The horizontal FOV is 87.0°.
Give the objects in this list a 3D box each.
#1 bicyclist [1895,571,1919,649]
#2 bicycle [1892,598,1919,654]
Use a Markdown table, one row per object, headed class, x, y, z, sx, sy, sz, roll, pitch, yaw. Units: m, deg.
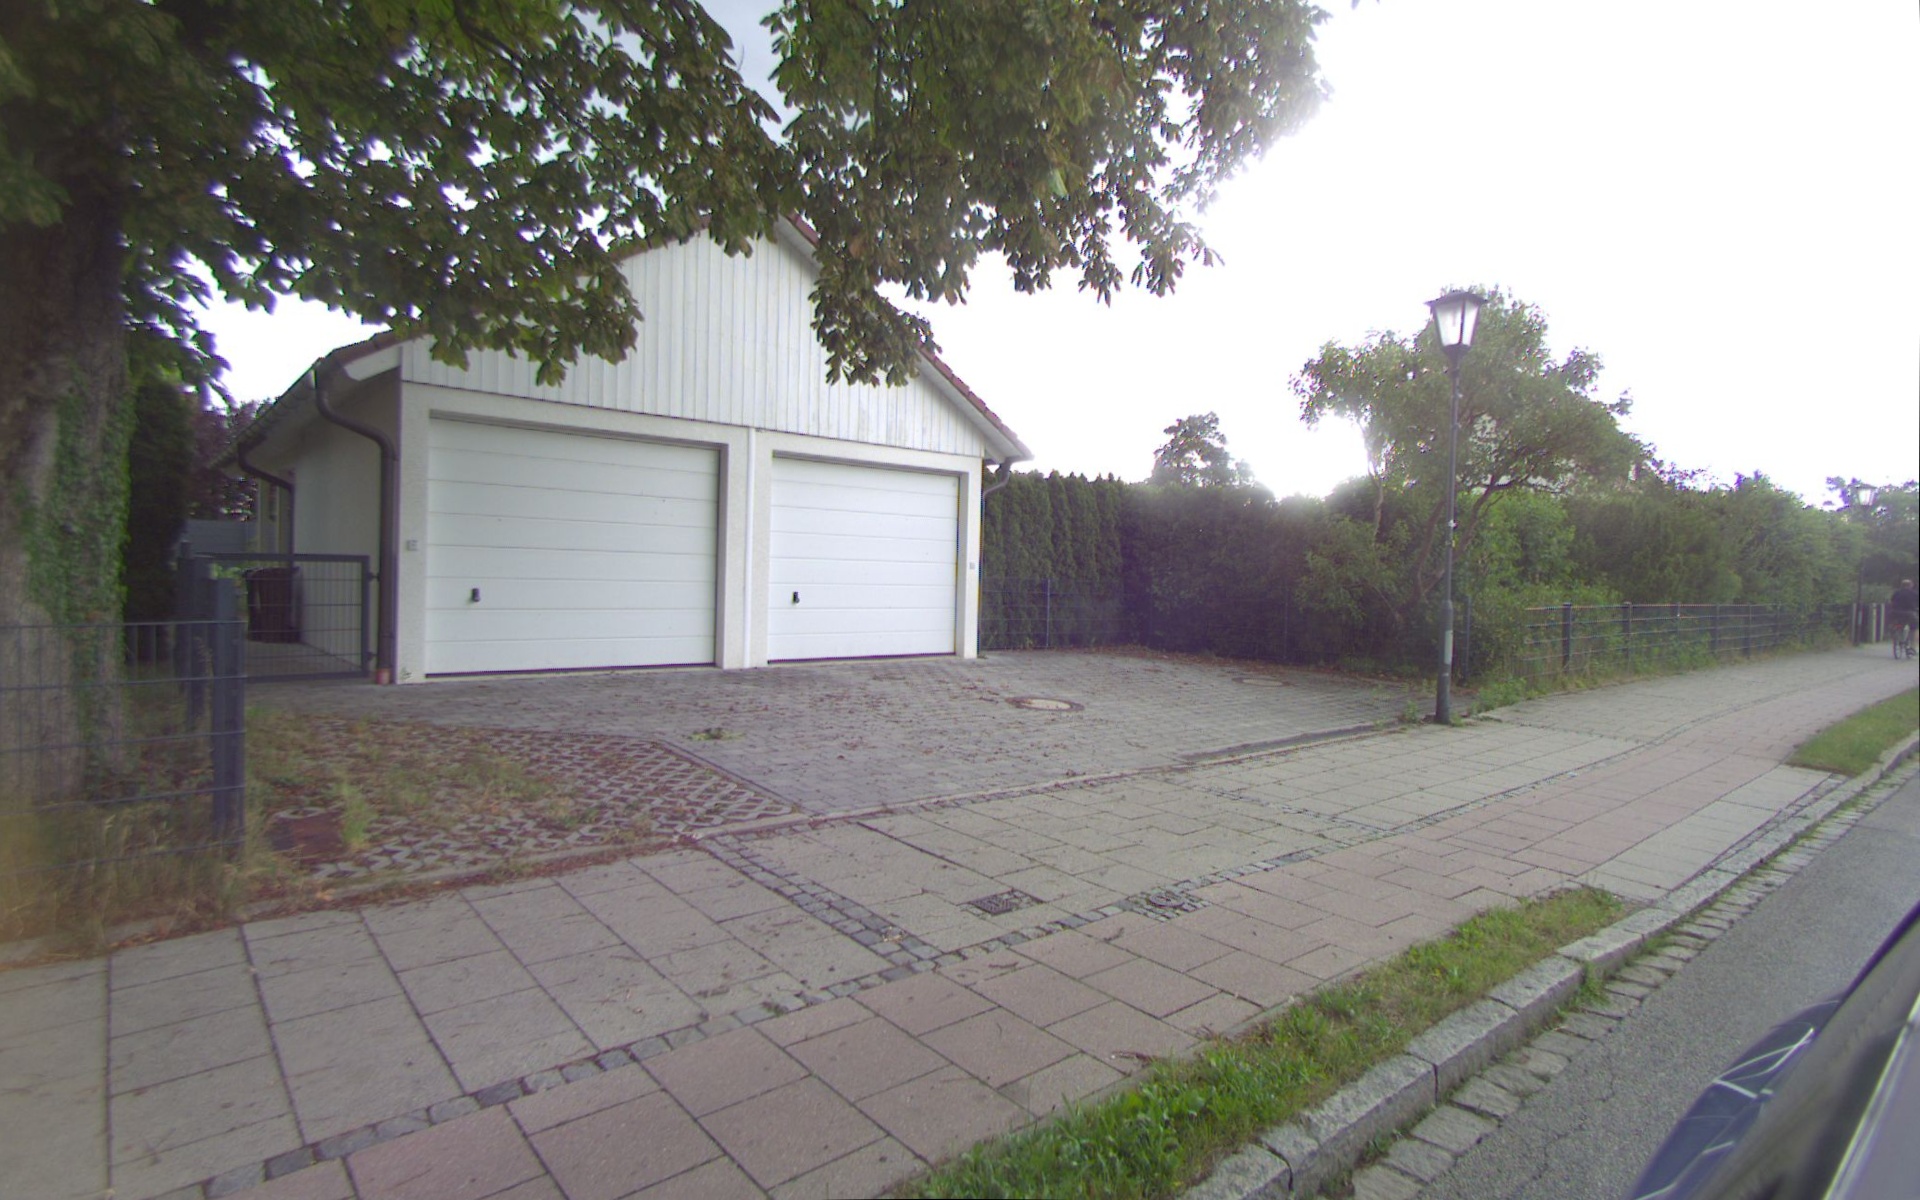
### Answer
| class | x | y | z | sx | sy | sz | roll | pitch | yaw |
| --- | --- | --- | --- | --- | --- | --- | --- | --- | --- |
| bicyclist | 20.737 | 0.212 | 21.811 | 0.874 | 1.653 | 0.738 | 0 | 0 | -38 |
| bicycle | 20.758 | 0.542 | 21.795 | 1.812 | 1.157 | 0.766 | 0 | 0 | -39 |
